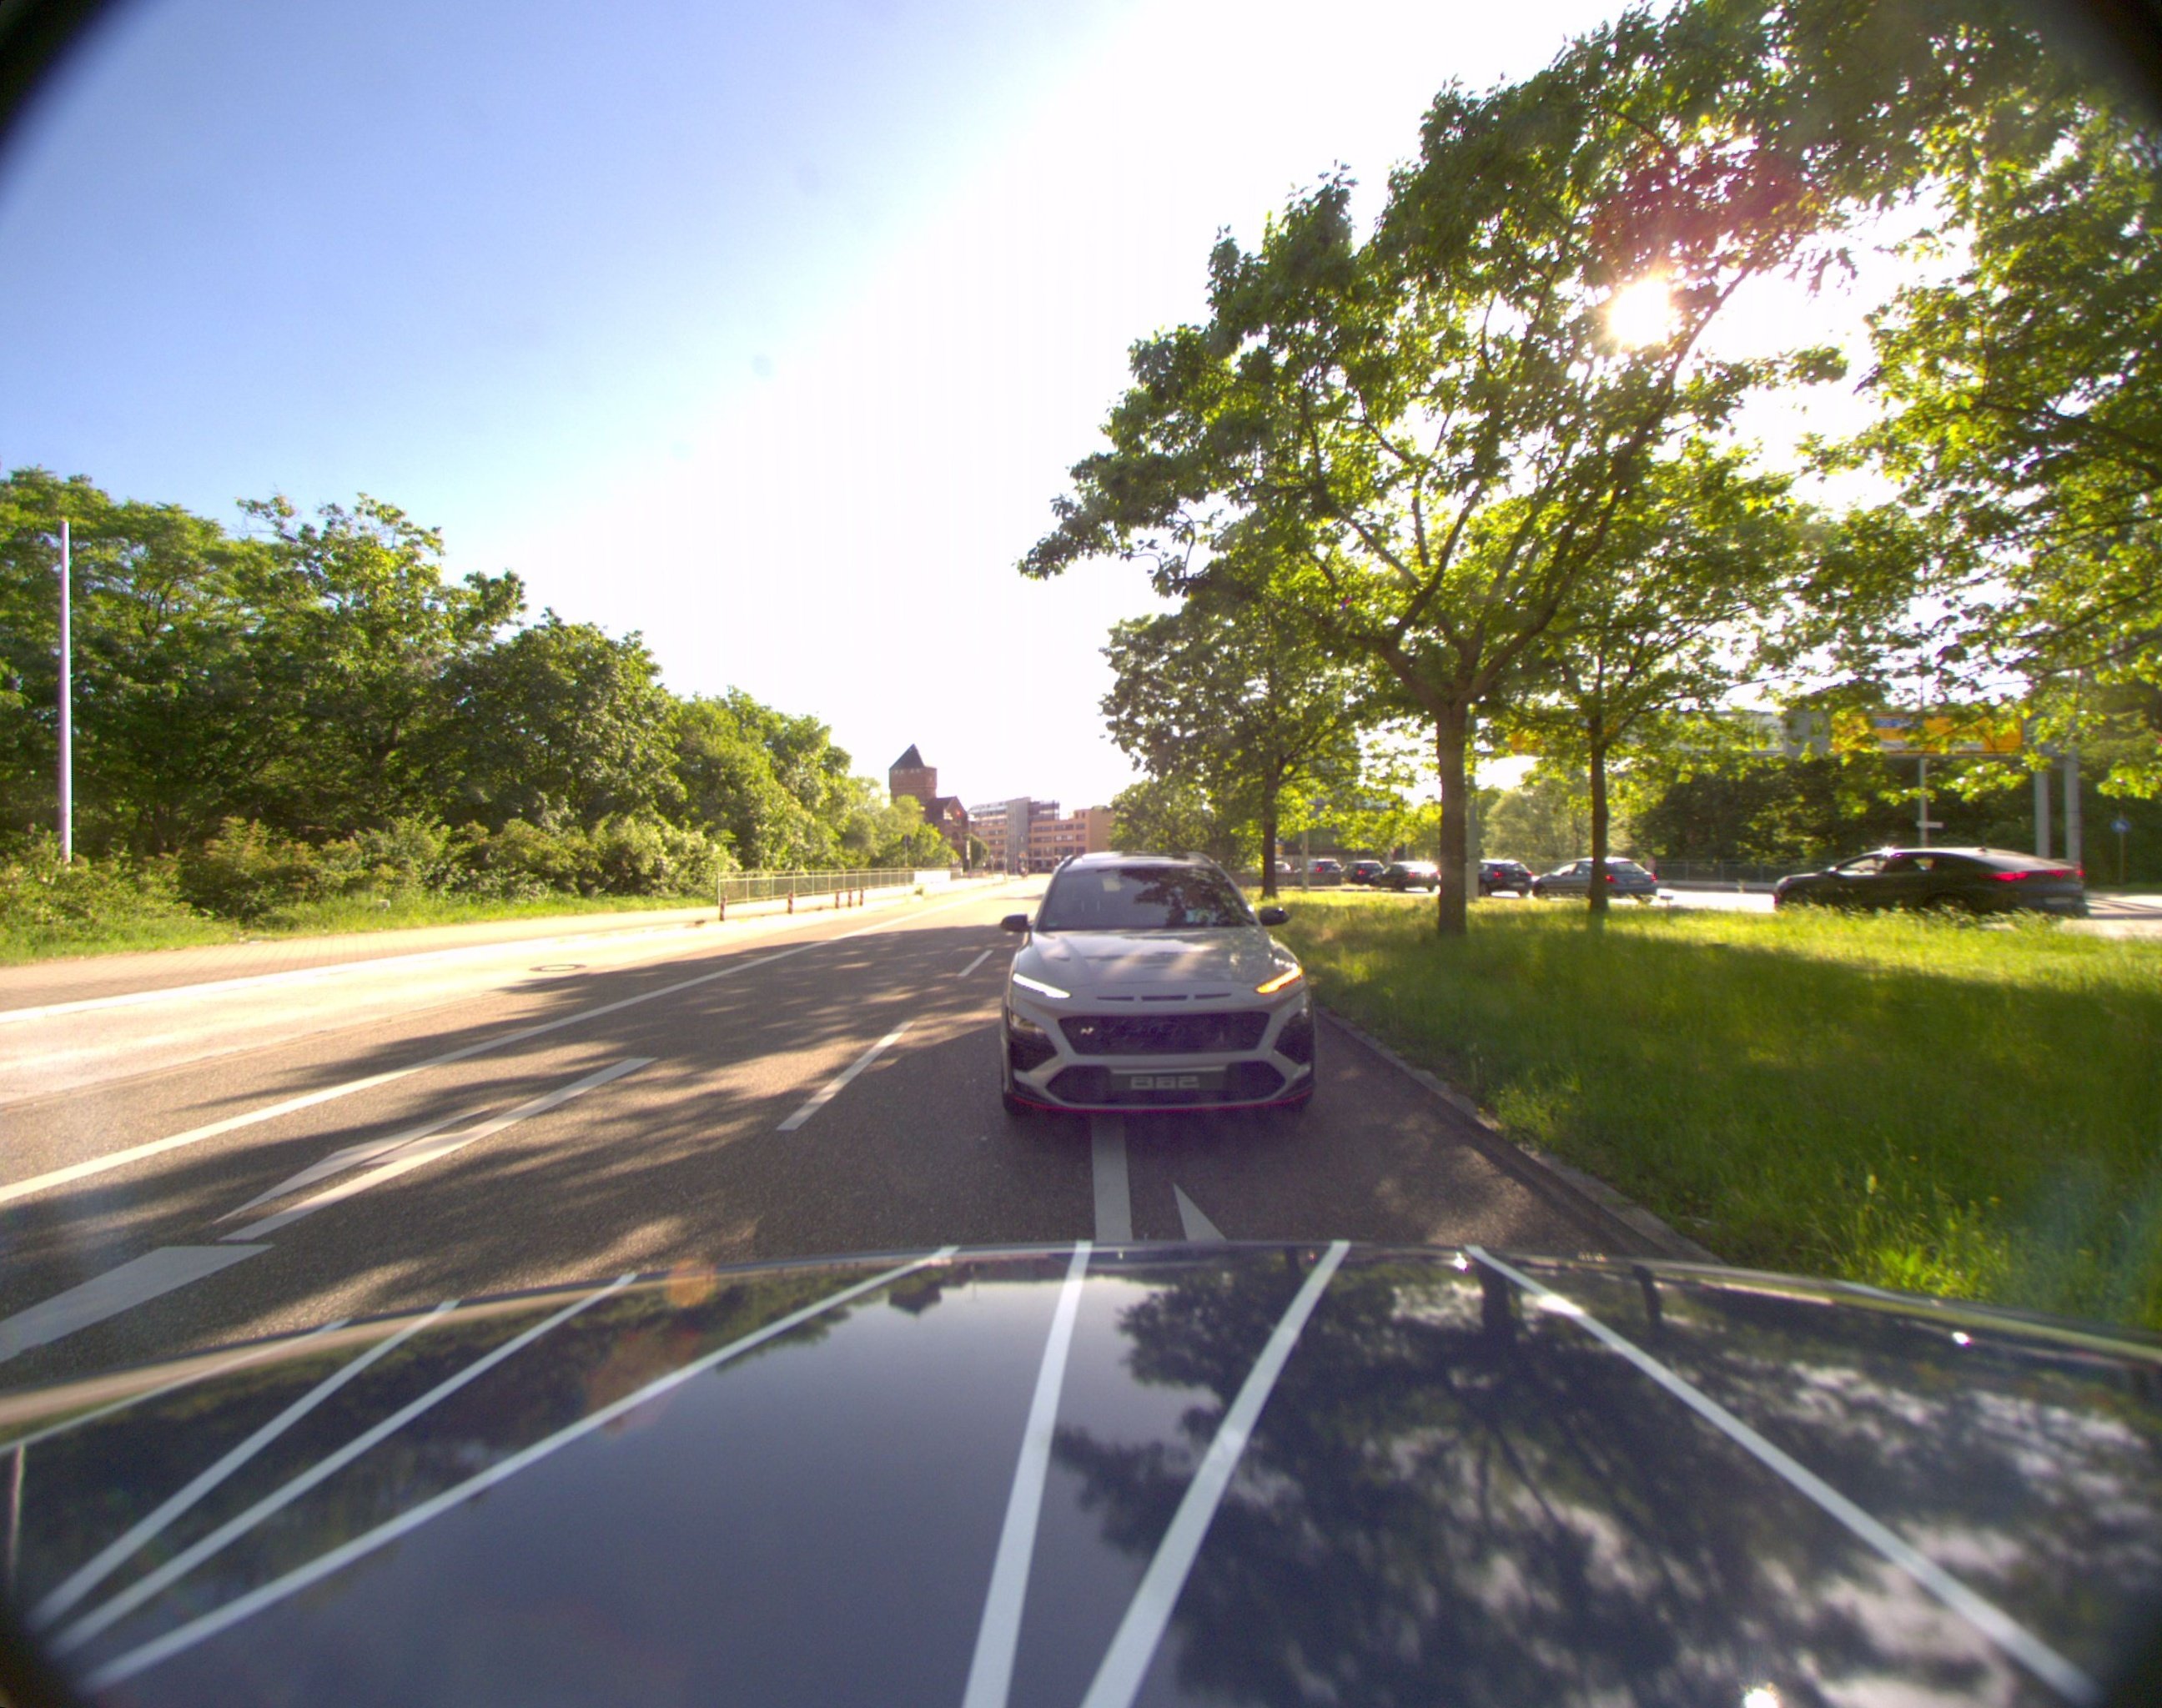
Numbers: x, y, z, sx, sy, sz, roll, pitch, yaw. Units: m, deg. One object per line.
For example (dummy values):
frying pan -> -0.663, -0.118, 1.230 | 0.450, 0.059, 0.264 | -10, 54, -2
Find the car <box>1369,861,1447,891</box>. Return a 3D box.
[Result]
car -> 15.476, 1.002, 36.216 | 1.623, 1.305, 4.066 | -1, 0, -6

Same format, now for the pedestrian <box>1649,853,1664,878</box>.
pedestrian -> 33.898, 0.667, 44.769 | 0.421, 1.490, 0.545 | -1, 0, -7

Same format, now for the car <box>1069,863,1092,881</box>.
car -> 0.010, 1.531, 66.272 | 1.892, 1.420, 4.386 | 1, 0, 1

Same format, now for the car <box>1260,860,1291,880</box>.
car -> 14.323, 1.213, 56.124 | 1.228, 1.331, 2.882 | -1, -3, -6

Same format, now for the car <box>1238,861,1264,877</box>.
car -> 13.938, 1.285, 62.406 | 1.199, 1.252, 2.768 | -1, -2, -6

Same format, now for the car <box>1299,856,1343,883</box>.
car -> 14.973, 0.997, 47.532 | 1.450, 1.549, 3.202 | -1, -2, -6

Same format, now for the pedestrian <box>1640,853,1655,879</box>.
pedestrian -> 33.364, 0.695, 44.775 | 0.421, 1.490, 0.545 | -1, 0, -7

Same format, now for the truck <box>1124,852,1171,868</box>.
truck -> 13.637, 1.225, 155.804 | 9.149, 3.231, 3.532 | -1, 0, 12

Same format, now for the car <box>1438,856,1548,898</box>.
car -> 16.188, 0.850, 30.143 | 1.875, 1.541, 4.221 | -1, 0, -4

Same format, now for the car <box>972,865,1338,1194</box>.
car -> 0.386, 0.885, 5.682 | 1.752, 1.523, 3.988 | -1, 0, 1

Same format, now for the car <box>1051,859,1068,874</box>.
car -> -2.314, 1.344, 82.429 | 1.677, 1.463, 4.151 | -1, 0, 1

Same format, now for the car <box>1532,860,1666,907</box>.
car -> 16.388, 0.886, 24.253 | 1.561, 1.355, 3.608 | -1, -1, -6

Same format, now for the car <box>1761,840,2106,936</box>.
car -> 16.890, 0.593, 15.476 | 1.832, 1.638, 4.458 | -1, 0, -5

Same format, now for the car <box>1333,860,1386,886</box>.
car -> 15.153, 1.038, 41.472 | 1.481, 1.331, 3.202 | -1, -1, -6

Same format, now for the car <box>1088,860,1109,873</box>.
car -> 2.890, 2.034, 124.420 | 1.995, 2.002, 4.007 | -1, 0, 25
